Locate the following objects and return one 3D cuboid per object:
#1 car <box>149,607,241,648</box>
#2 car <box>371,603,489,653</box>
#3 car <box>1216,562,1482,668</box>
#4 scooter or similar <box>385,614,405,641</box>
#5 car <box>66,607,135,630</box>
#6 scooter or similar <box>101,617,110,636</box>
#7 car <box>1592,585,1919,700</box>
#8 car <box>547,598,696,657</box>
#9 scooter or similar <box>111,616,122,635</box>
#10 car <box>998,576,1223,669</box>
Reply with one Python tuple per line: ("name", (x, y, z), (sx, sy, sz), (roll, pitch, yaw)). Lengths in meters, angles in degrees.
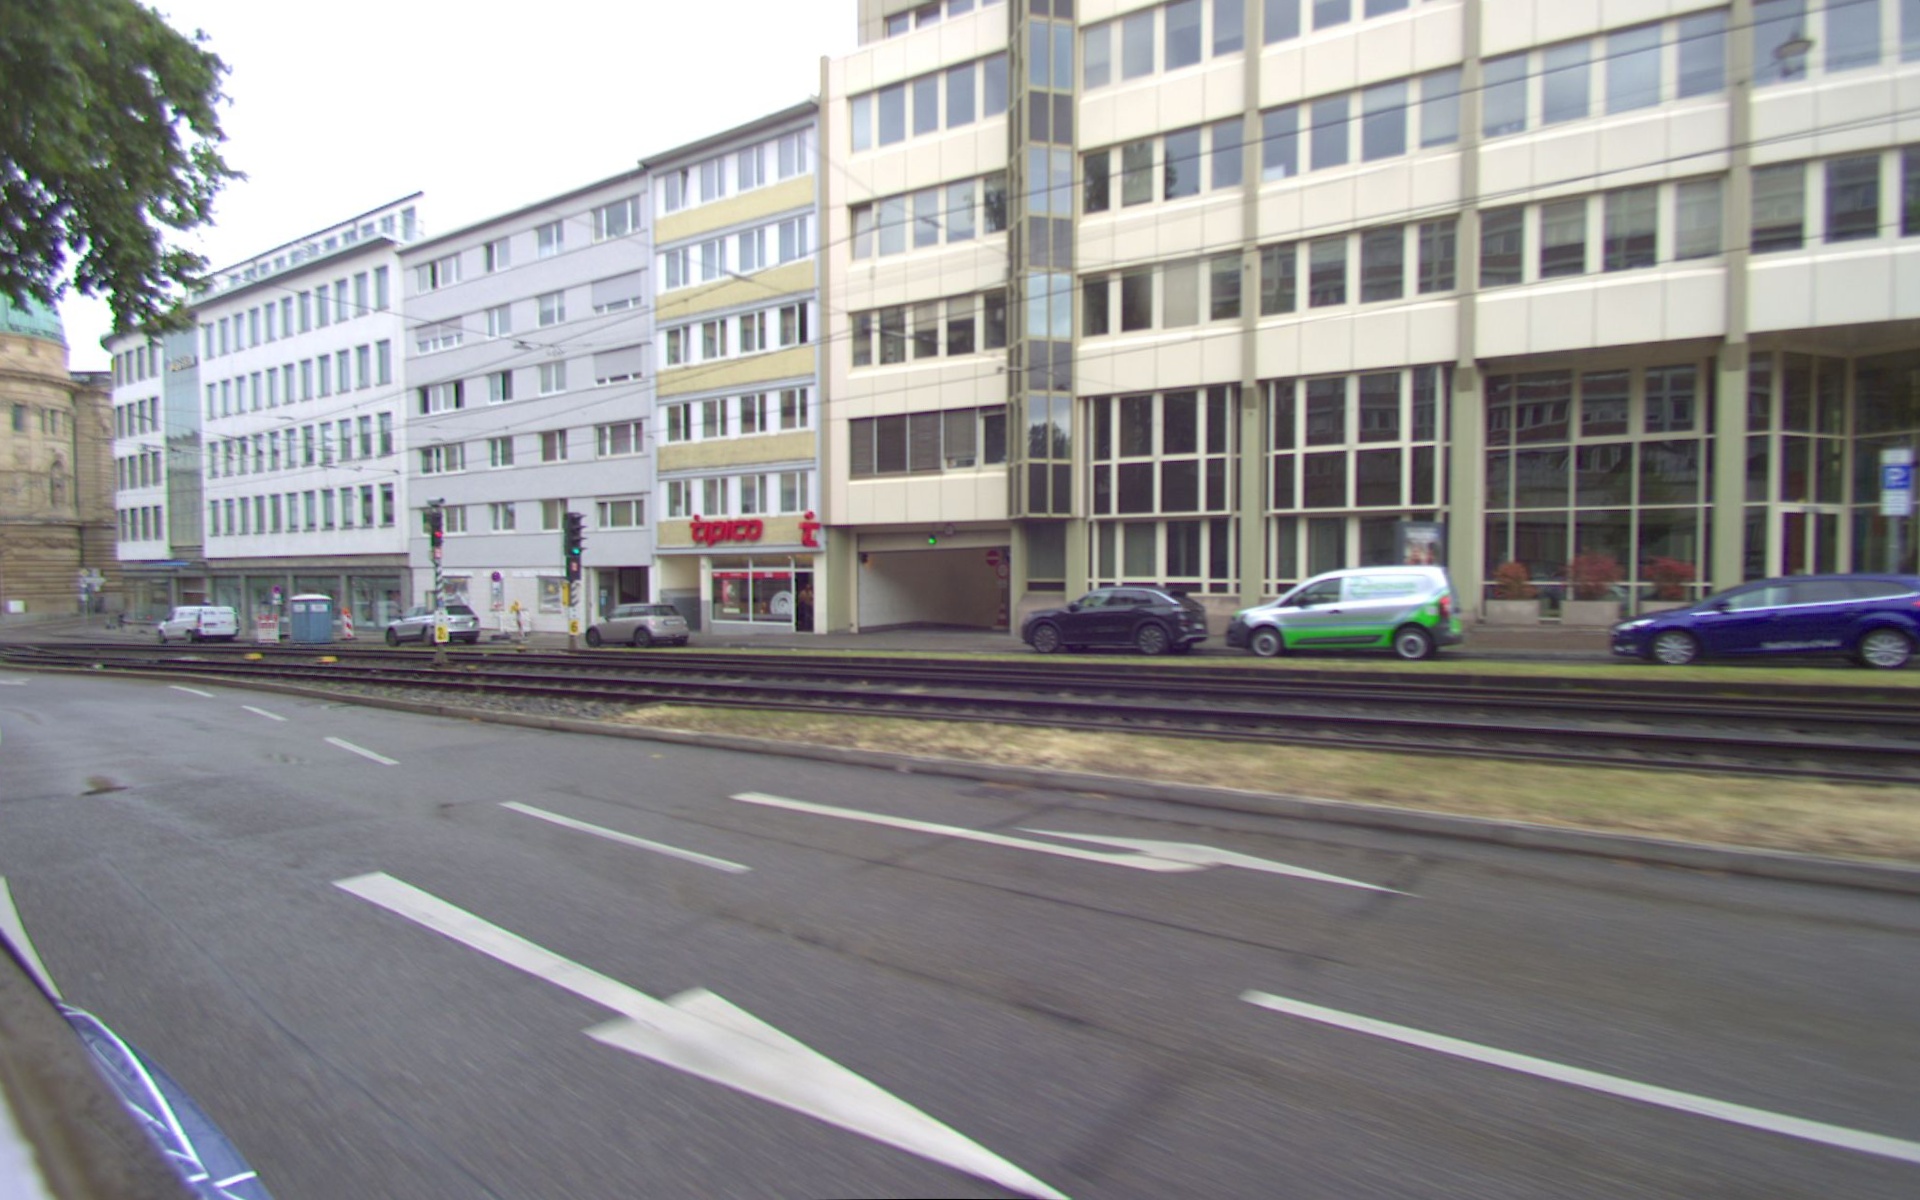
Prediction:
("car", (-39.225, 1.377, 51.850), (5.114, 1.856, 1.979), (0, 3, 32))
("car", (-20.456, 1.093, 39.007), (4.683, 1.686, 1.977), (-2, 2, 35))
("car", (7.730, 0.238, 20.226), (4.679, 1.863, 1.979), (0, 3, 32))
("scooter or similar", (-26.358, 1.293, 47.211), (0.971, 1.211, 0.378), (0, 3, 33))
("car", (-64.902, 1.360, 76.523), (1.757, 1.408, 4.334), (-2, 3, -6))
("scooter or similar", (-59.694, 1.849, 70.724), (0.404, 1.209, 1.563), (-4, 3, -40))
("car", (13.036, 0.613, 16.553), (4.534, 1.593, 1.979), (0, 3, 32))
("car", (-10.949, 0.825, 32.654), (4.679, 1.686, 1.979), (0, 3, 32))
("scooter or similar", (-59.249, 1.796, 71.098), (0.404, 1.209, 1.564), (-3, 3, -34))
("car", (3.412, 0.460, 23.200), (4.679, 1.863, 1.979), (0, 3, 32))
